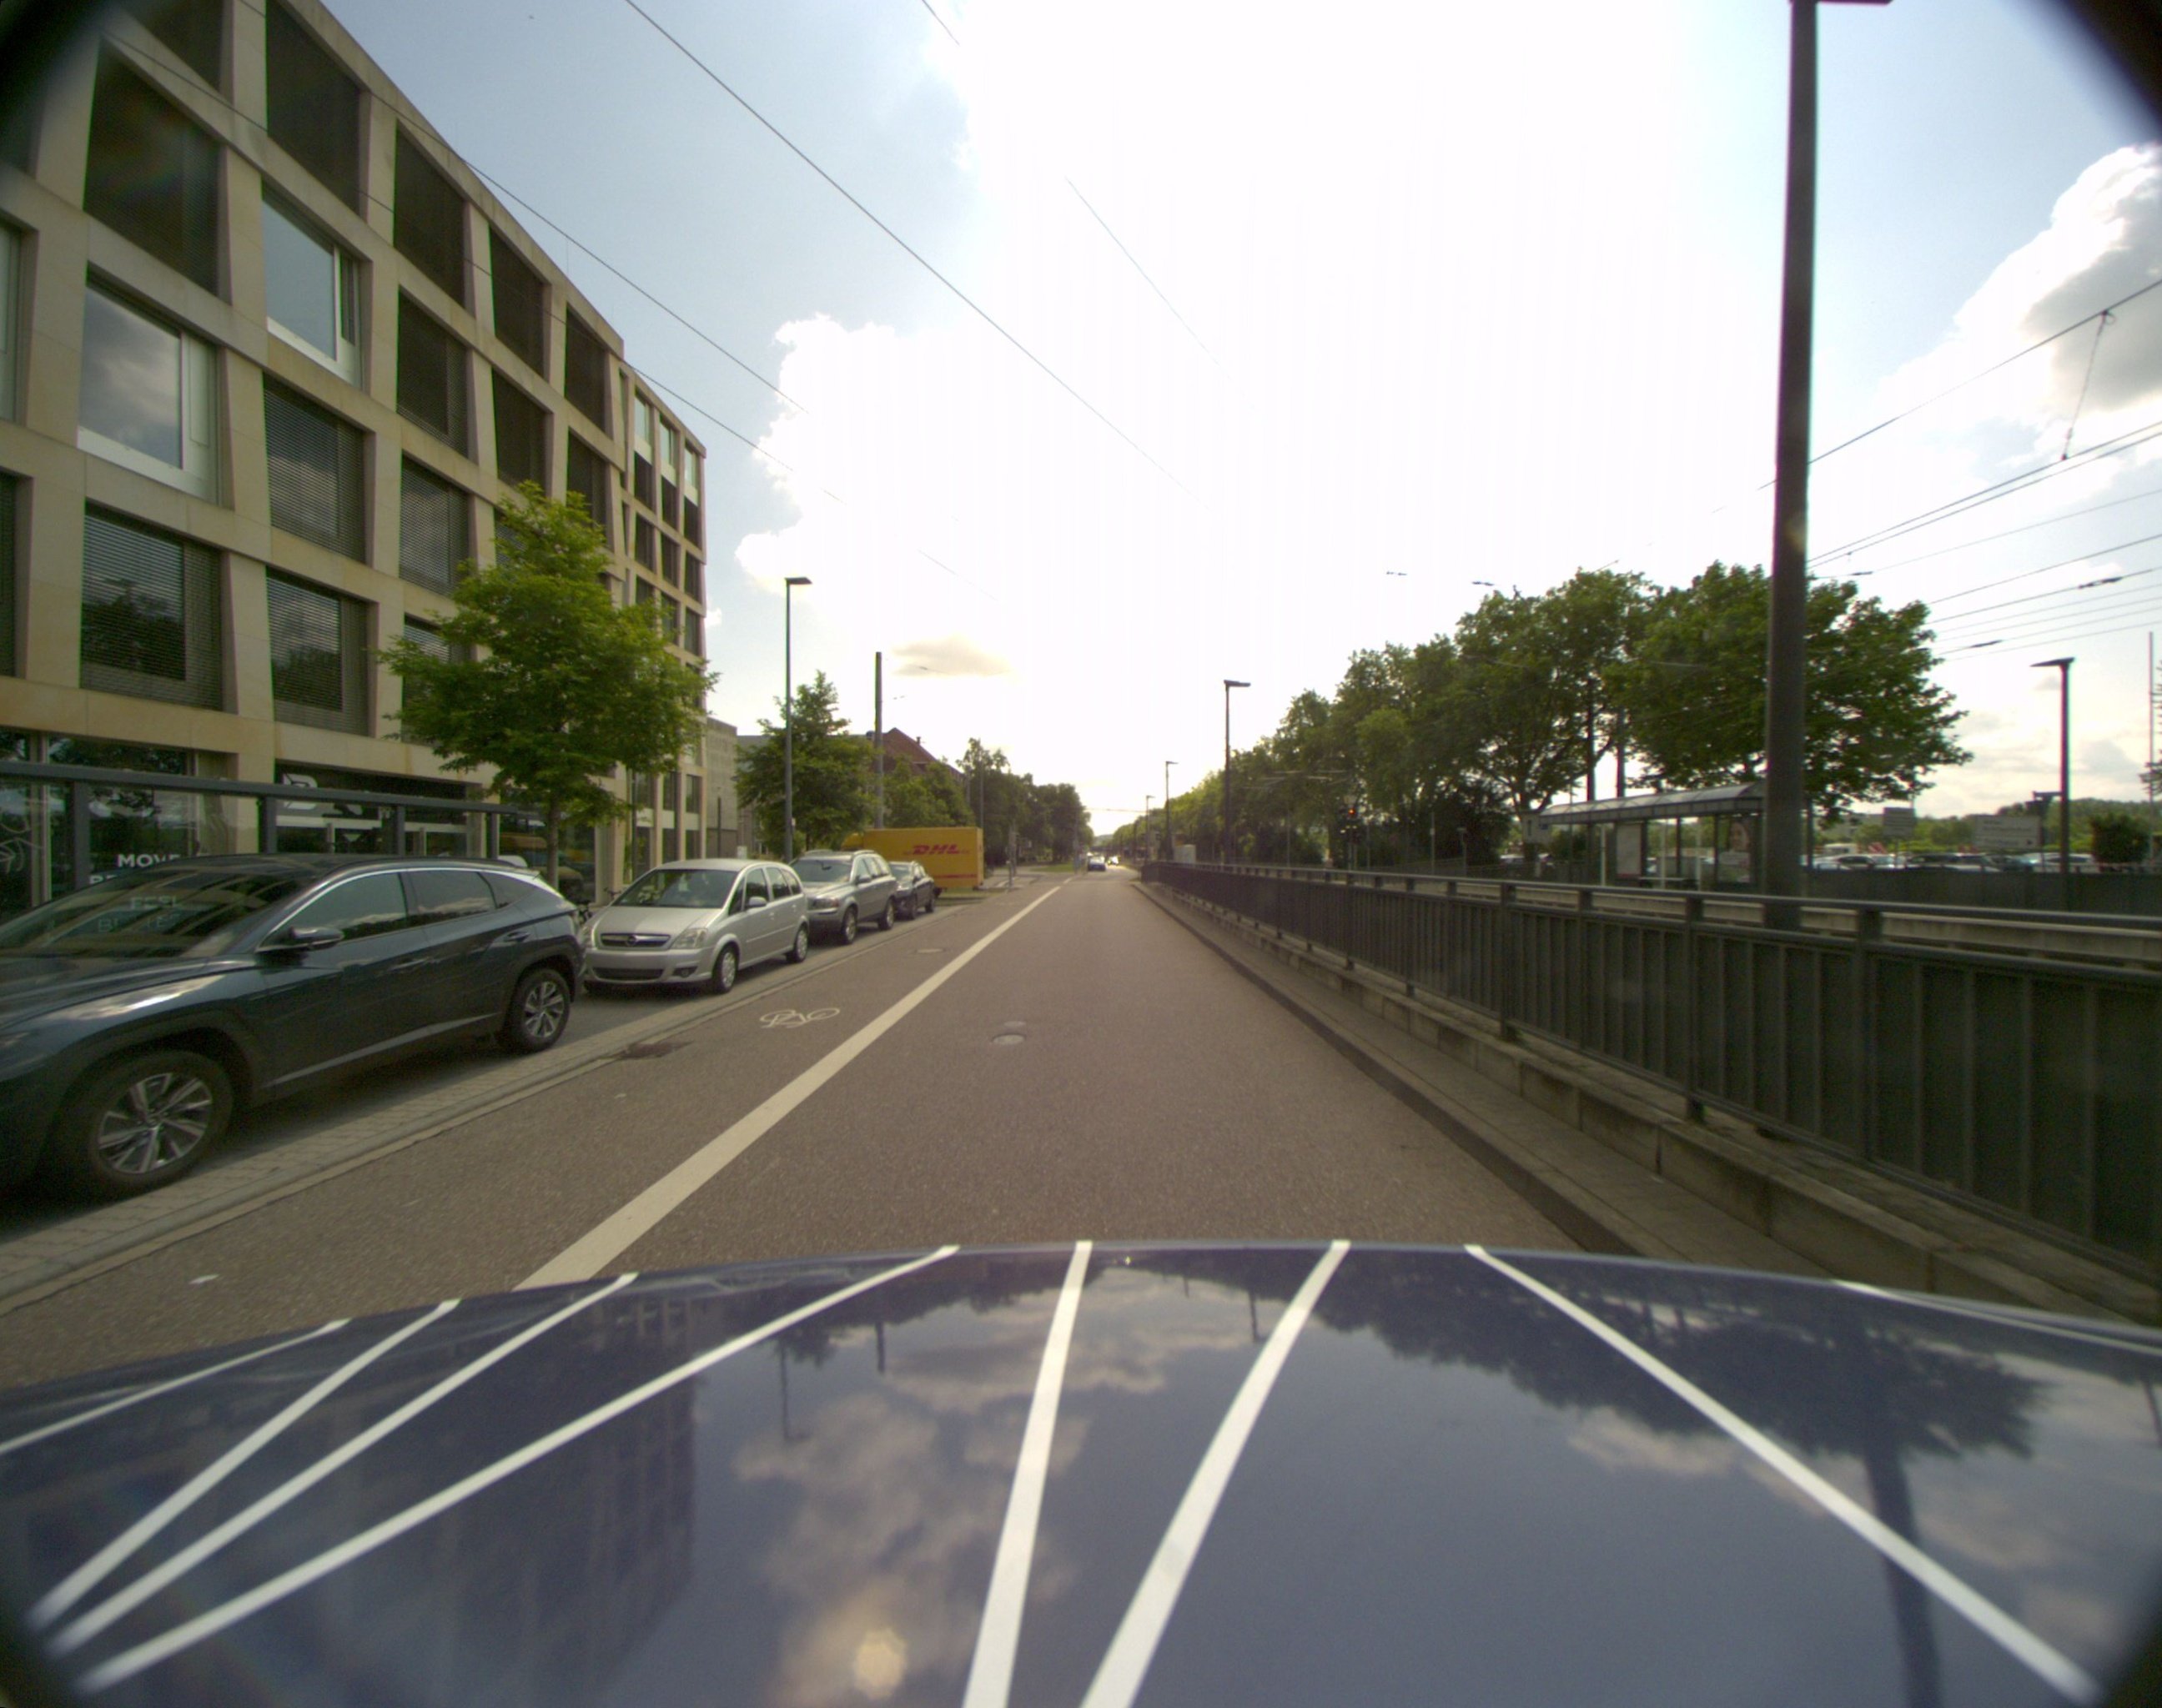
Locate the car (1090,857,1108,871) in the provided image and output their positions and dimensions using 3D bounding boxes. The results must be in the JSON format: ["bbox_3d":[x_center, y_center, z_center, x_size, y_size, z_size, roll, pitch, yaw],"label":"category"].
[{"bbox_3d":[1.992,1.077,85.266,1.784,1.531,4.420,1,0,-1],"label":"car"}]

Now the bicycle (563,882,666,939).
[{"bbox_3d":[-9.749,1.168,15.910,1.846,1.119,0.488,1,1,-1],"label":"bicycle"}]

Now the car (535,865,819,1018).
[{"bbox_3d":[-5.089,0.988,10.251,1.725,1.610,3.860,0,0,1],"label":"car"}]

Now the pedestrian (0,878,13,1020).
[{"bbox_3d":[-12.097,1.034,7.913,0.639,1.542,0.905,0,0,1],"label":"pedestrian"}]

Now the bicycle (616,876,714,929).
[{"bbox_3d":[-9.183,1.067,16.799,1.846,0.988,0.439,-4,1,-1],"label":"bicycle"}]

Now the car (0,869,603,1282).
[{"bbox_3d":[-5.397,0.974,4.900,1.725,1.631,4.527,1,0,1],"label":"car"}]

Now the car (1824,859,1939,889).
[{"bbox_3d":[41.464,1.009,39.495,1.802,1.467,4.000,0,0,0],"label":"car"}]

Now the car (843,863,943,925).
[{"bbox_3d":[-5.059,1.018,20.990,1.695,1.496,4.068,0,0,1],"label":"car"}]

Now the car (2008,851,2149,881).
[{"bbox_3d":[51.710,0.581,39.522,1.884,1.474,4.106,1,0,0],"label":"car"}]

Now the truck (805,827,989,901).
[{"bbox_3d":[-7.279,0.381,30.660,6.824,2.851,2.454,0,1,-2],"label":"truck"}]

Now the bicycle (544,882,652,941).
[{"bbox_3d":[-9.762,1.146,15.375,1.846,1.119,0.480,1,1,-1],"label":"bicycle"}]

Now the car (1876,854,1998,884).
[{"bbox_3d":[44.211,0.767,39.383,1.802,1.467,4.000,0,0,0],"label":"car"}]

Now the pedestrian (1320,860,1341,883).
[{"bbox_3d":[15.543,1.086,47.342,0.866,1.335,0.920,1,1,-32],"label":"pedestrian"}]

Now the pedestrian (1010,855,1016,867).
[{"bbox_3d":[-8.776,0.874,98.580,0.623,1.598,0.624,1,1,5],"label":"pedestrian"}]

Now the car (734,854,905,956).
[{"bbox_3d":[-5.081,0.889,15.548,1.773,1.757,4.840,0,0,1],"label":"car"}]

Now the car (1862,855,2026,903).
[{"bbox_3d":[29.762,0.829,26.381,1.694,1.525,3.654,0,-1,4],"label":"car"}]

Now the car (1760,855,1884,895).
[{"bbox_3d":[30.292,0.820,31.226,1.694,1.525,3.654,0,-1,4],"label":"car"}]

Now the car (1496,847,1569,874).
[{"bbox_3d":[32.897,0.464,55.419,4.107,1.821,2.000,1,1,2],"label":"car"}]

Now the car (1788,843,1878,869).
[{"bbox_3d":[48.699,0.120,49.273,3.996,1.419,1.778,-3,0,2],"label":"car"}]
